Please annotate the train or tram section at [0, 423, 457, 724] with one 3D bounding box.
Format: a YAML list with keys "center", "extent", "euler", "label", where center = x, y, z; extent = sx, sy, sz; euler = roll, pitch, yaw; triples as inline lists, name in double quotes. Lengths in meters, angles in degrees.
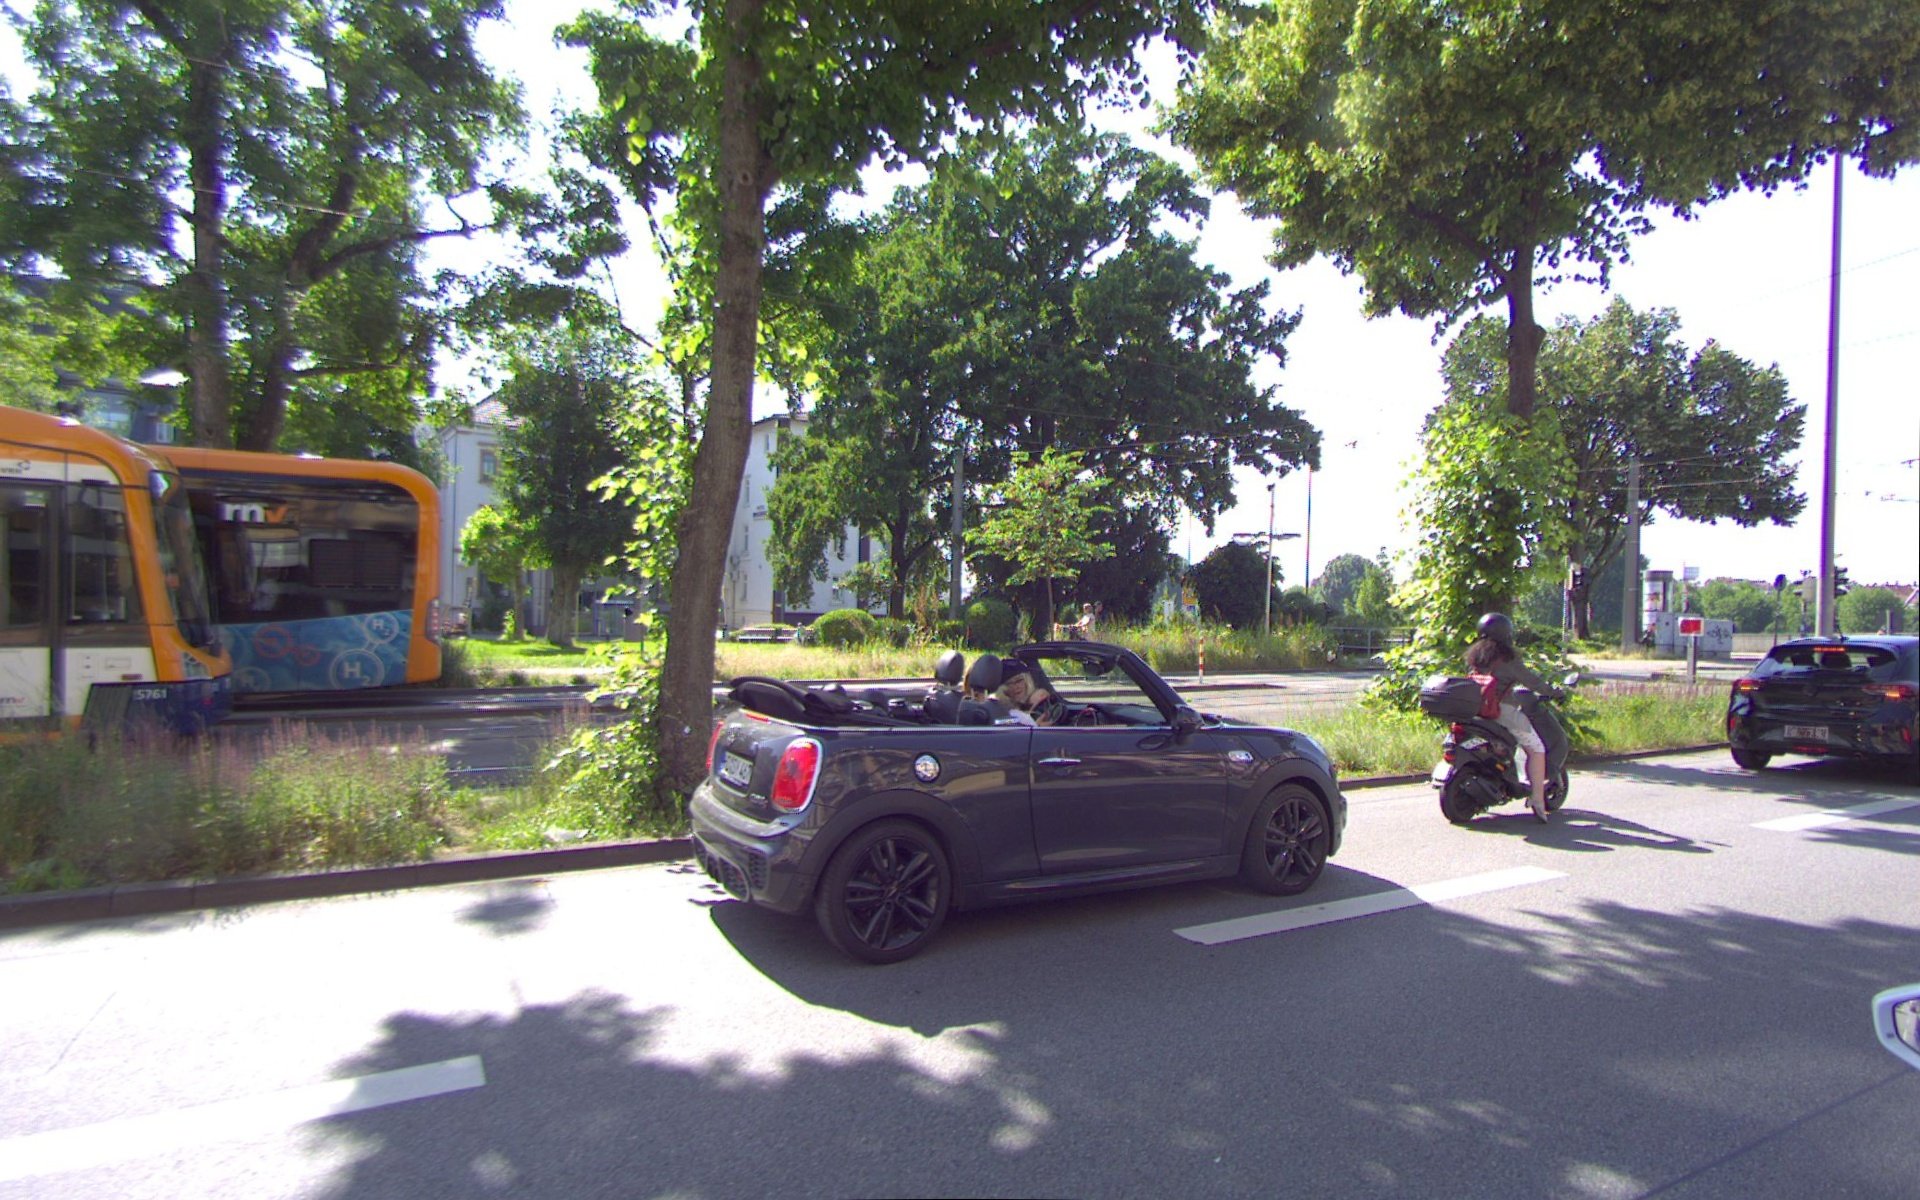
- center: [-11.075, -0.287, 12.563]
  extent: [8.435, 3.434, 2.056]
  euler: [1, -1, -31]
  label: "train or tram section"

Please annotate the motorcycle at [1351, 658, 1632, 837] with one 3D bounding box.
- center: [4.254, 1.082, 7.992]
  extent: [2.325, 1.179, 0.896]
  euler: [1, -1, -30]
  label: "motorcycle"

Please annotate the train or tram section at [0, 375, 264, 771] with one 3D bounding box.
- center: [-10.145, -0.283, 9.297]
  extent: [5.818, 3.449, 2.746]
  euler: [1, 1, -30]
  label: "train or tram section"

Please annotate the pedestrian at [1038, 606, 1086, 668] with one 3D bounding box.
- center: [2.784, 0.990, 27.433]
  extent: [0.921, 1.641, 1.034]
  euler: [1, 0, -23]
  label: "pedestrian"

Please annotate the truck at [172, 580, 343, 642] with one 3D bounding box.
- center: [-38.847, 0.658, 55.861]
  extent: [7.576, 3.258, 2.443]
  euler: [1, -1, -34]
  label: "truck"

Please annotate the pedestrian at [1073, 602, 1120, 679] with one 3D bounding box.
- center: [3.733, 1.088, 27.541]
  extent: [0.790, 2.040, 1.219]
  euler: [1, 0, -22]
  label: "pedestrian"

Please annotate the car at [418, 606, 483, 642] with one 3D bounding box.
- center: [-31.669, 1.476, 62.379]
  extent: [4.488, 2.040, 1.990]
  euler: [1, 0, 40]
  label: "car"

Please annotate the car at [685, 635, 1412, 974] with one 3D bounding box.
- center: [0.583, 0.875, 5.677]
  extent: [3.866, 1.326, 1.626]
  euler: [1, -1, -29]
  label: "car"

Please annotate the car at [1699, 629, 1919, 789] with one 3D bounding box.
- center: [10.078, 1.057, 10.938]
  extent: [3.951, 1.430, 1.785]
  euler: [1, -1, -29]
  label: "car"

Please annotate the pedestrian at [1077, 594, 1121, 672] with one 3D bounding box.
- center: [4.015, 0.942, 28.995]
  extent: [0.790, 2.179, 1.121]
  euler: [1, 0, -22]
  label: "pedestrian"

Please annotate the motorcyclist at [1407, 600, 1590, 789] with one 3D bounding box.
- center: [4.253, 0.702, 7.957]
  extent: [0.981, 1.376, 0.896]
  euler: [1, -1, -30]
  label: "motorcyclist"
